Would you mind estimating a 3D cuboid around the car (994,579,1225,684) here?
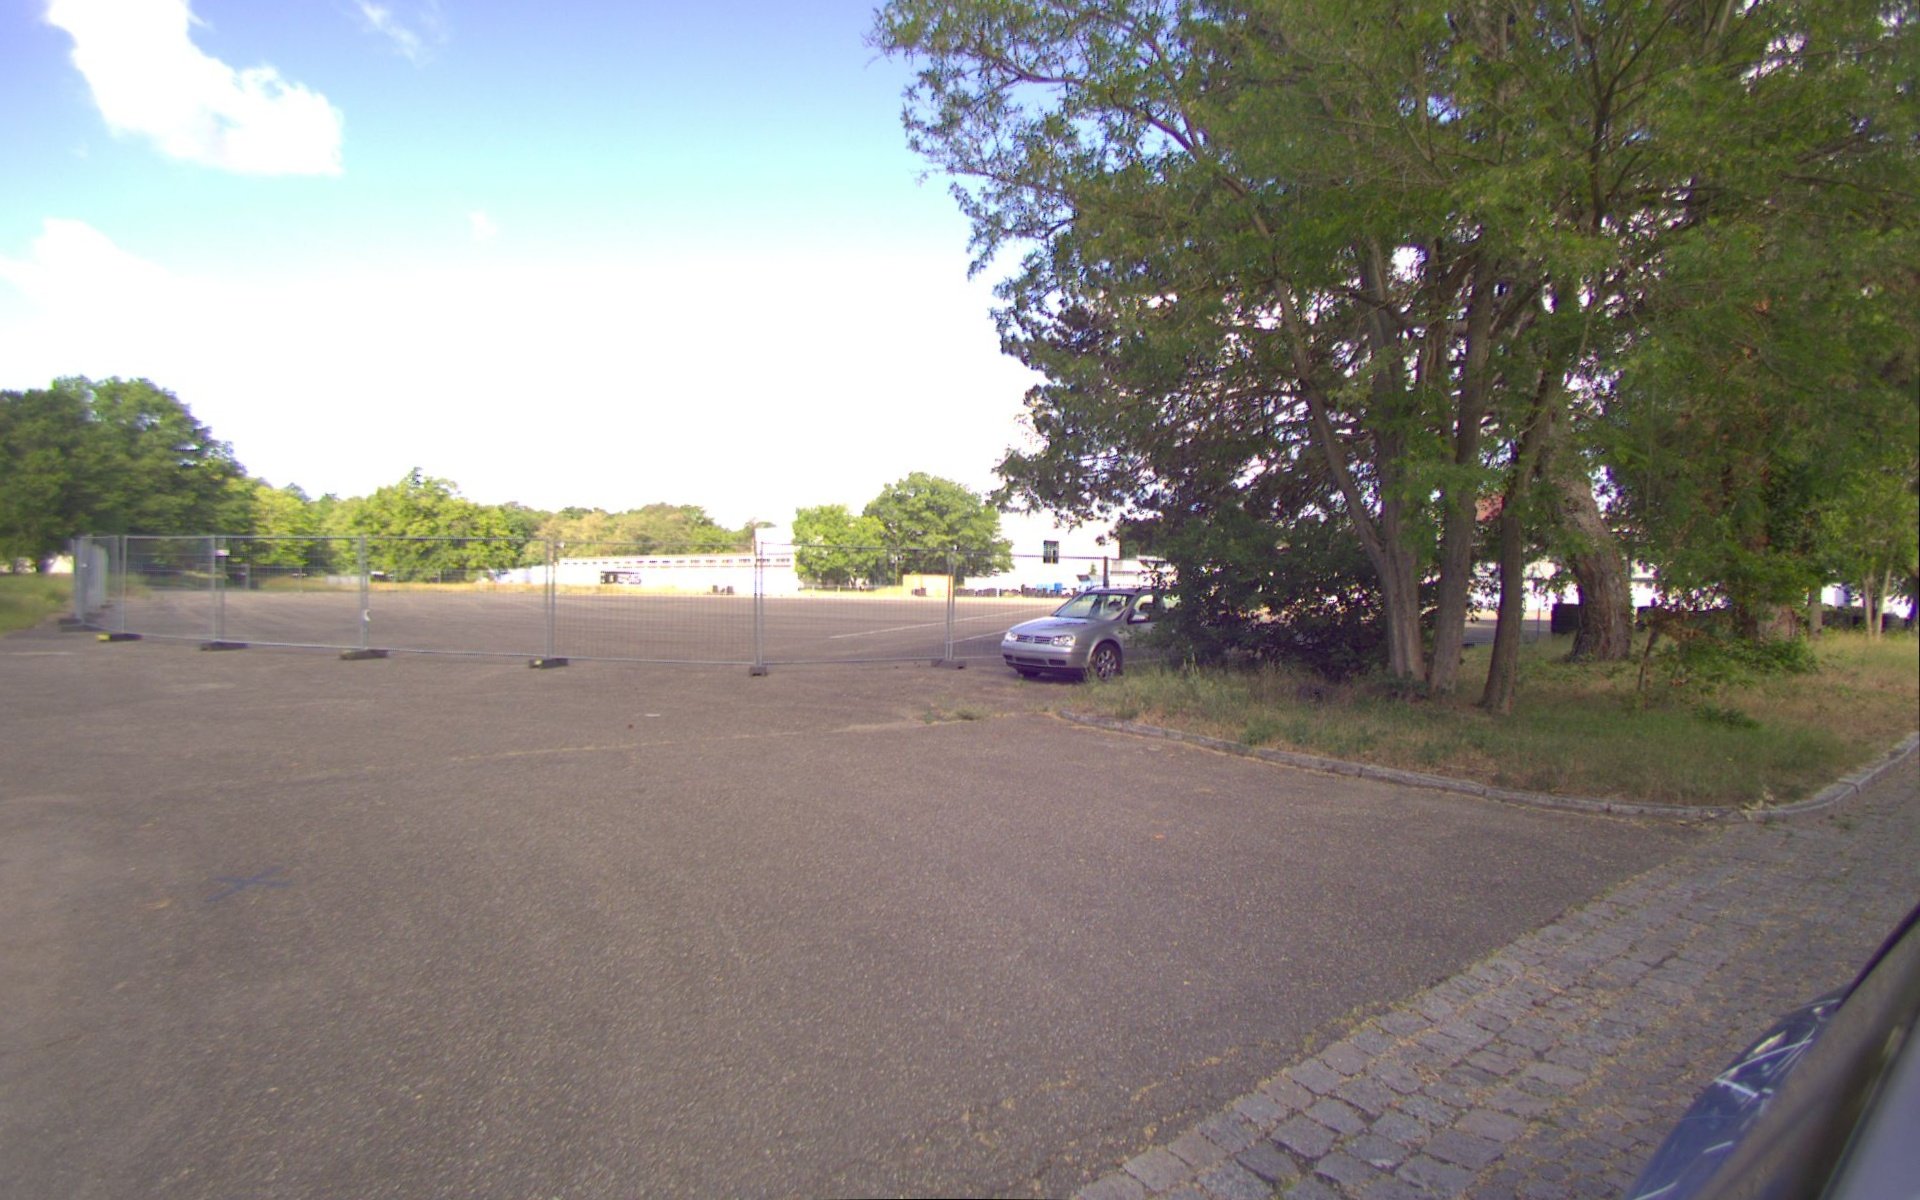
[{"bbox_3d":[2.483,0.433,16.199,3.920,1.462,1.576,0,1,-44],"label":"car"}]
